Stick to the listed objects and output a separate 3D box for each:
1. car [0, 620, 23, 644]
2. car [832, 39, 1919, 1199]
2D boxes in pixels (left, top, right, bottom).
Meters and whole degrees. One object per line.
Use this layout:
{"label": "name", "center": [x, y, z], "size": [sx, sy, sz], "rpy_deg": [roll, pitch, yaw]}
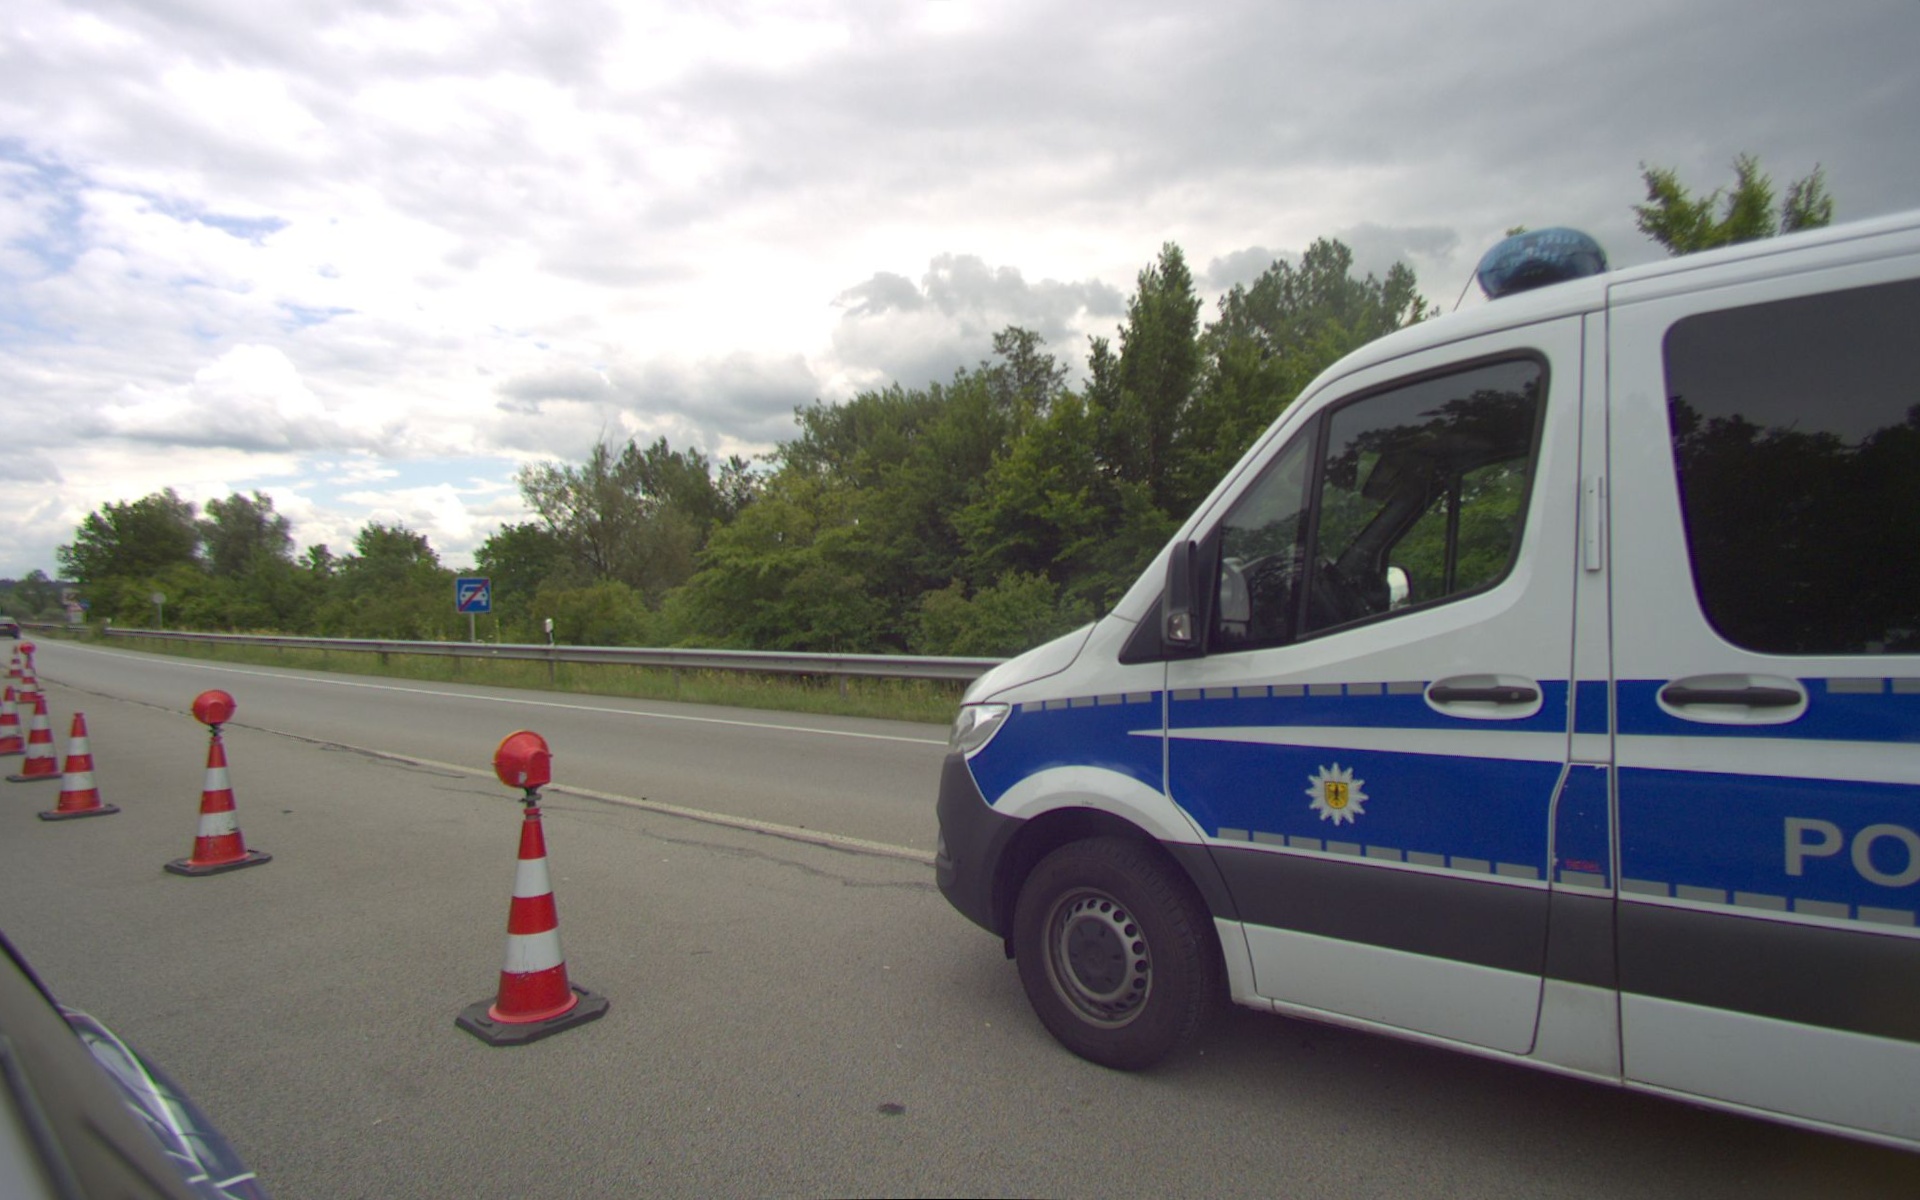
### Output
{"label": "car", "center": [-62.149, 2.064, 65.716], "size": [4.338, 1.447, 1.689], "rpy_deg": [-1, -1, 44]}
{"label": "car", "center": [2.212, 0.169, 2.926], "size": [5.272, 2.482, 2.010], "rpy_deg": [-1, -1, 38]}
